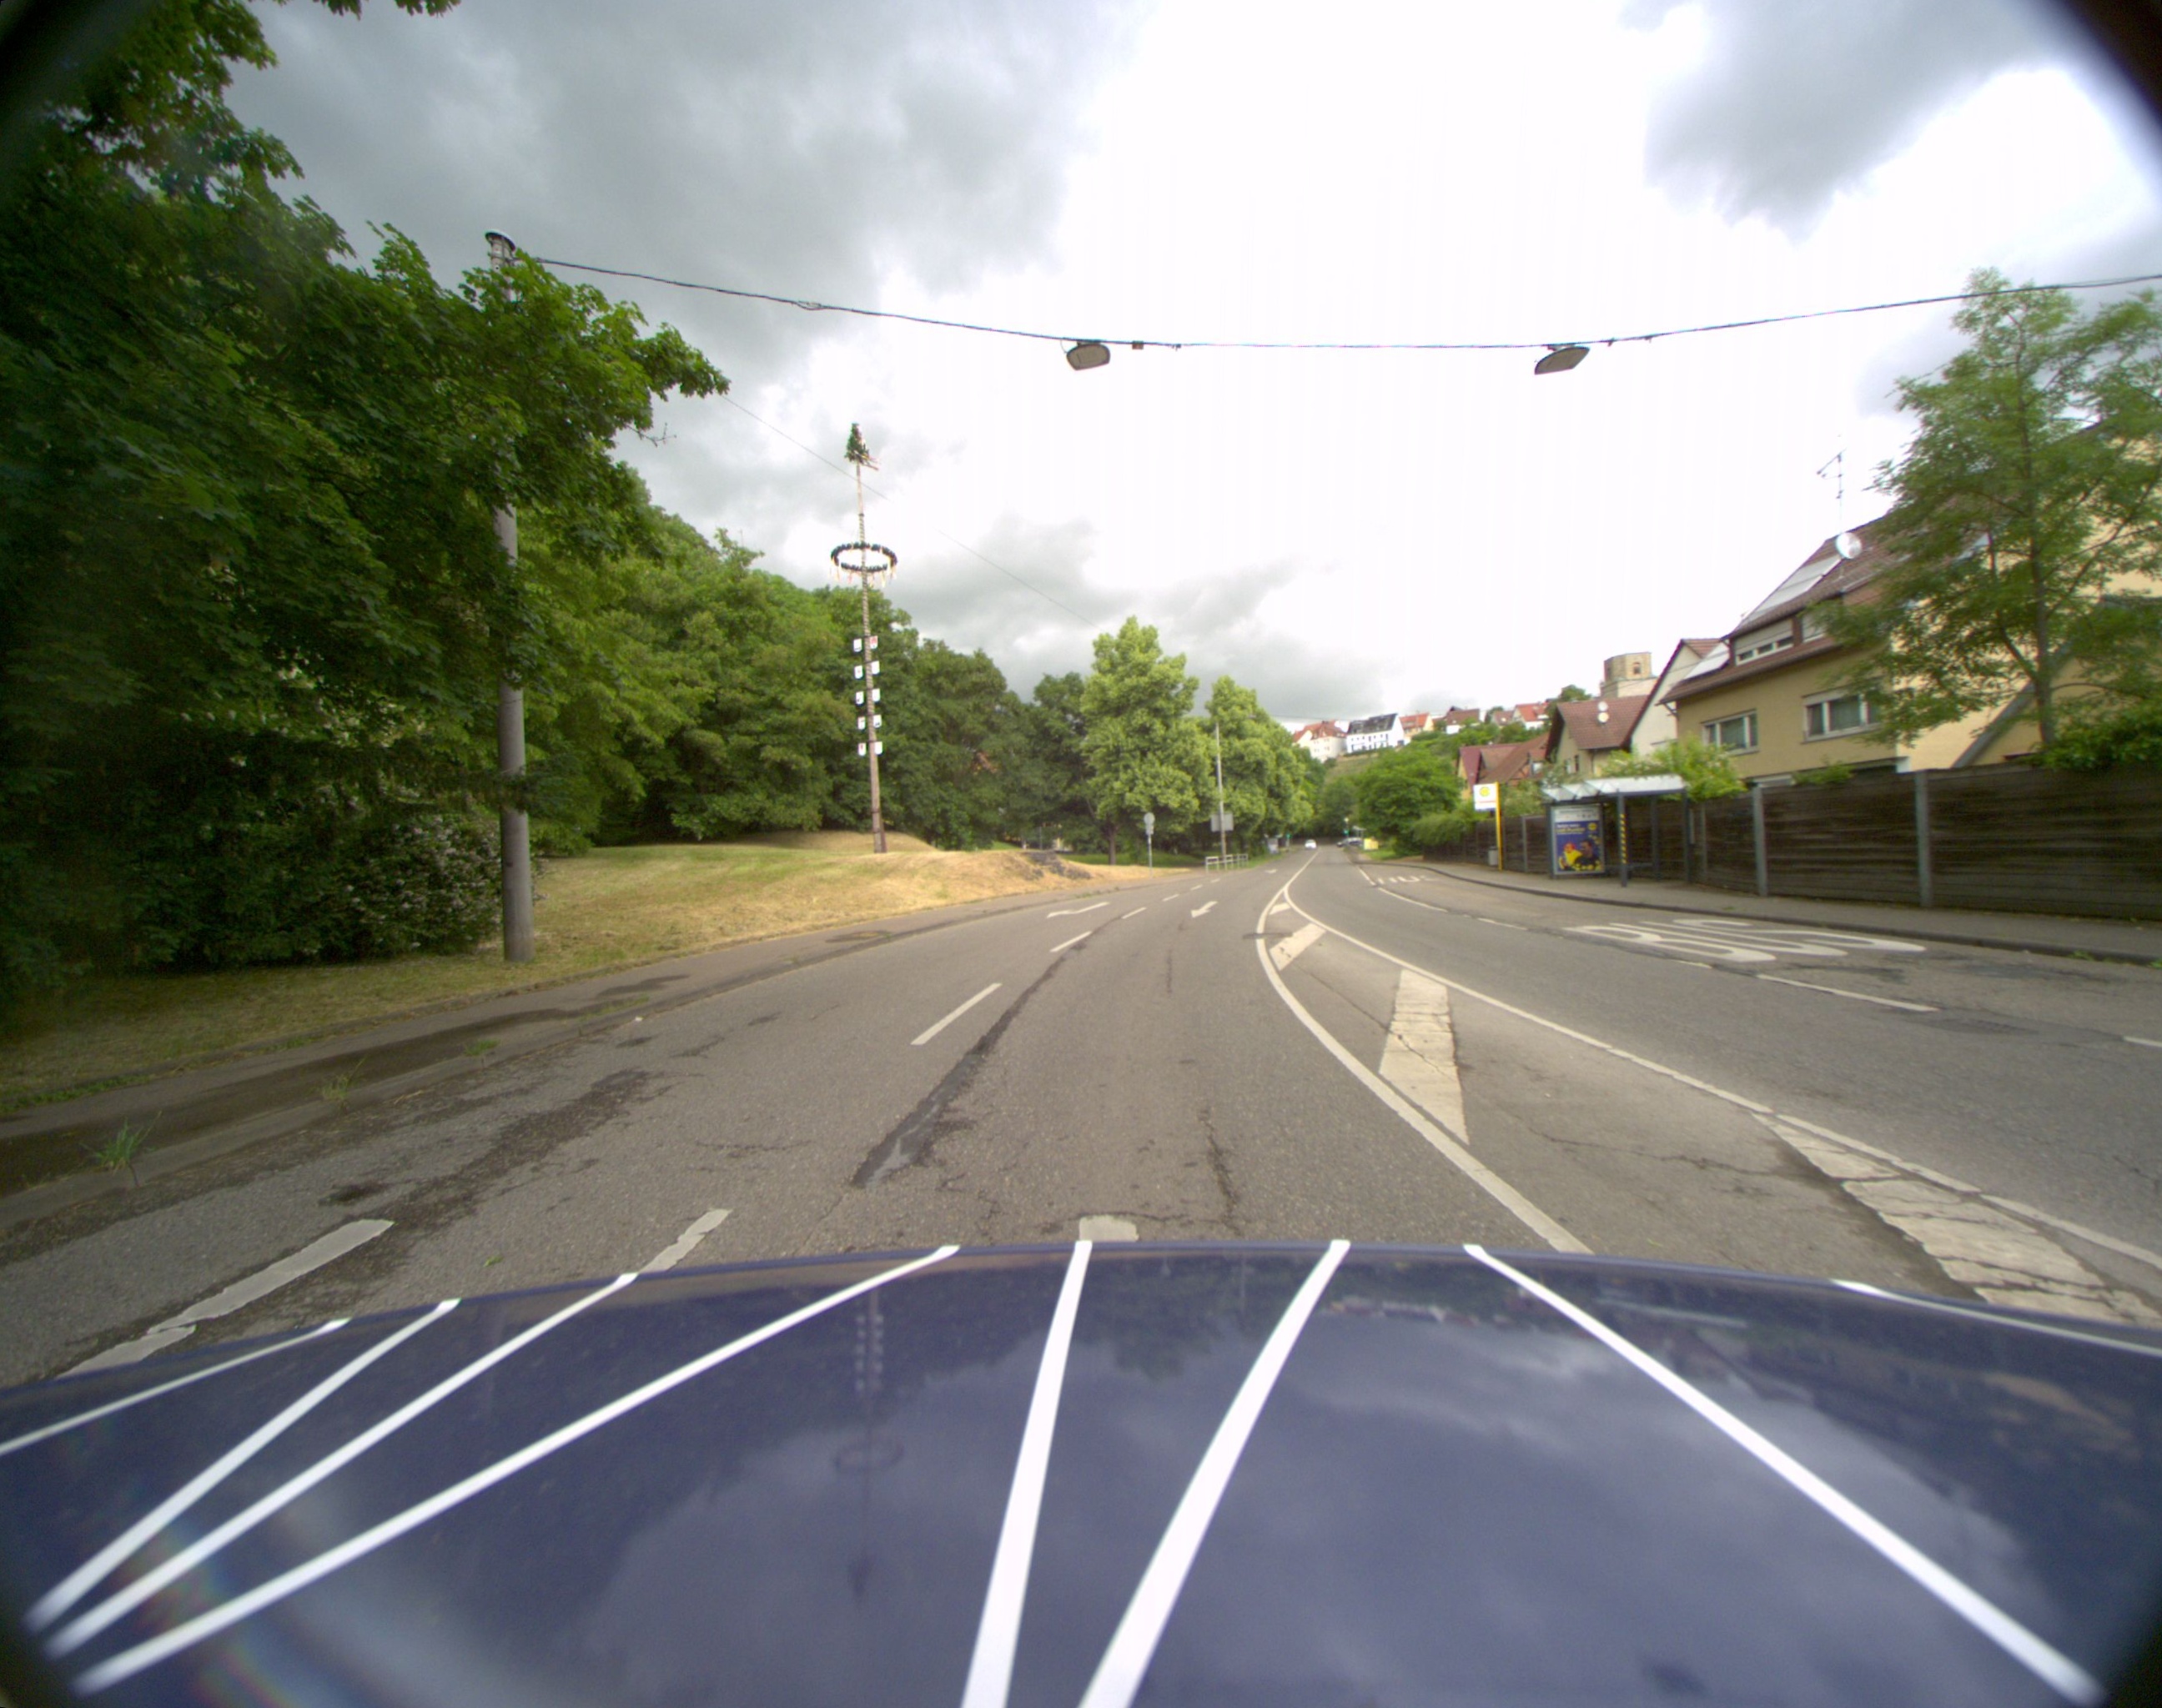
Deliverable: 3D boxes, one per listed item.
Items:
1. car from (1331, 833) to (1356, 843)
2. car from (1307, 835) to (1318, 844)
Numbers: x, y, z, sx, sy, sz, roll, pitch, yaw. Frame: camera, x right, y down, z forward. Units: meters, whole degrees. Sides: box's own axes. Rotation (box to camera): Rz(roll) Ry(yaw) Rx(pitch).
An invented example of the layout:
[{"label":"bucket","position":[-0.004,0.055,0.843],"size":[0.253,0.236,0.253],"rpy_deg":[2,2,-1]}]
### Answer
[{"label":"car","position":[43.869,-2.648,127.024],"size":[3.686,1.575,1.762],"rpy_deg":[-2,1,-19]},{"label":"car","position":[39.067,-2.438,128.289],"size":[1.761,1.516,3.687],"rpy_deg":[-2,1,16]}]
